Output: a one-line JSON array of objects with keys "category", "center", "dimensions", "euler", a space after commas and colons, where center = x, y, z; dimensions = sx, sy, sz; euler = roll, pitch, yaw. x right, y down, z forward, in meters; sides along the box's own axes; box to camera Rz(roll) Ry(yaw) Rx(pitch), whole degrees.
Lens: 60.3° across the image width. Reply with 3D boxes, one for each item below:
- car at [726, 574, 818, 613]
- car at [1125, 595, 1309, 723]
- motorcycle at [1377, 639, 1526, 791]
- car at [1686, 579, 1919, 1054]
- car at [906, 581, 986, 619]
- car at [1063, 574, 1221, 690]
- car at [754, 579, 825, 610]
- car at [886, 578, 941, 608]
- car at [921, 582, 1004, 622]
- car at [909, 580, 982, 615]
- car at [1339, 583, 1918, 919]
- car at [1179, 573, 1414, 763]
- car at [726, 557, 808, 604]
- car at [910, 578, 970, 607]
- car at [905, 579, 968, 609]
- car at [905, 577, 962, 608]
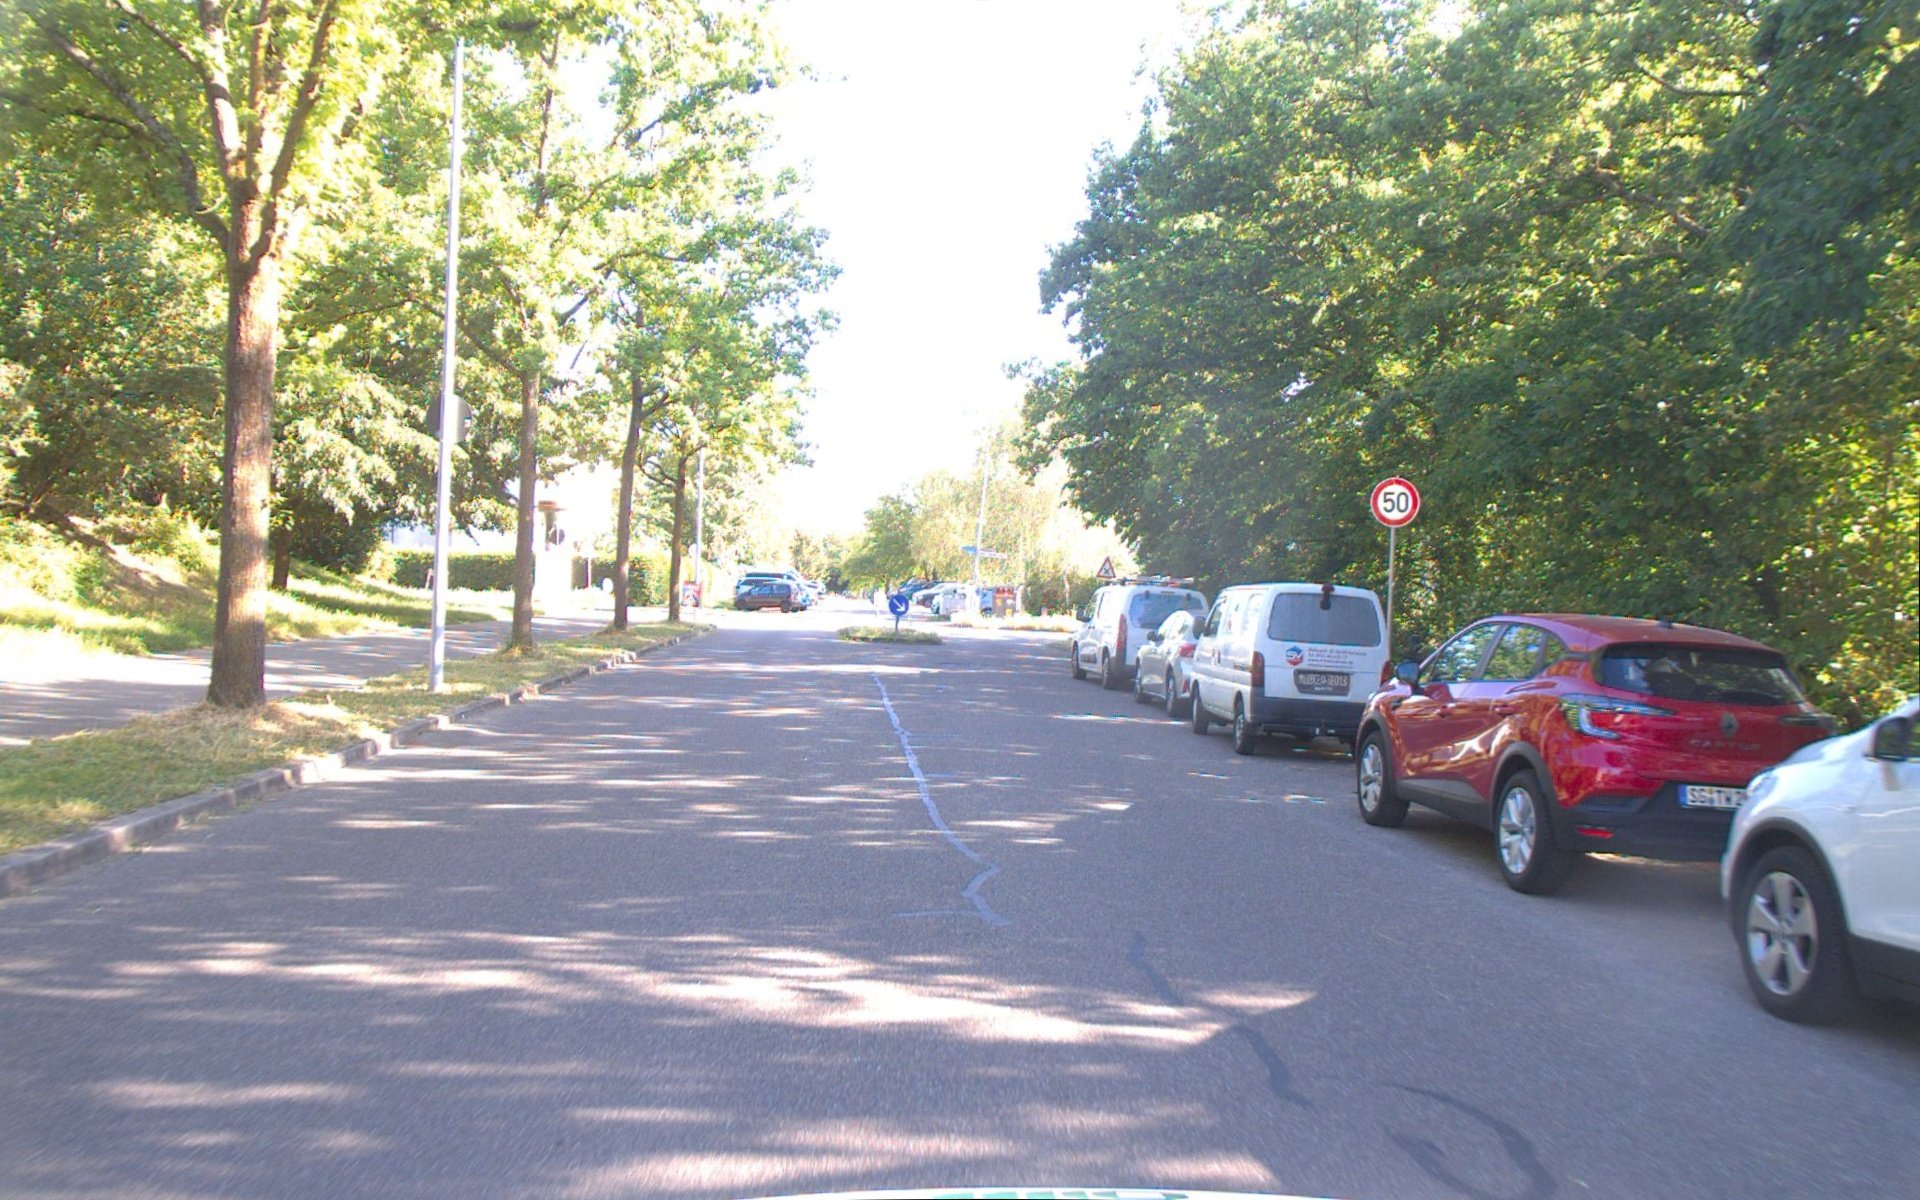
[{"category": "car", "center": [-9.392, -0.318, 82.935], "dimensions": [4.229, 1.604, 2.047], "euler": [4, 0, 3]}, {"category": "car", "center": [3.557, 0.762, 23.624], "dimensions": [1.658, 1.538, 4.204], "euler": [4, 0, -3]}, {"category": "motorcycle", "center": [4.473, 1.010, 15.201], "dimensions": [0.634, 1.216, 2.034], "euler": [3, 0, -2]}, {"category": "car", "center": [4.283, 0.817, 5.352], "dimensions": [1.741, 1.649, 4.061], "euler": [4, 0, -5]}, {"category": "car", "center": [-0.674, -0.015, 81.803], "dimensions": [3.759, 1.604, 1.689], "euler": [4, 0, 3]}, {"category": "car", "center": [3.176, 0.509, 29.754], "dimensions": [1.757, 1.816, 4.550], "euler": [4, 0, -7]}, {"category": "car", "center": [-10.189, -0.337, 99.212], "dimensions": [4.024, 1.604, 1.958], "euler": [4, 0, -2]}, {"category": "car", "center": [-3.343, -0.493, 118.561], "dimensions": [3.760, 1.827, 1.688], "euler": [4, 0, 1]}, {"category": "car", "center": [0.135, 0.102, 79.028], "dimensions": [3.759, 1.604, 1.689], "euler": [4, 0, 3]}, {"category": "car", "center": [-0.759, -0.150, 89.614], "dimensions": [3.759, 1.604, 1.689], "euler": [4, 0, 3]}, {"category": "car", "center": [3.966, 0.775, 10.653], "dimensions": [1.741, 1.649, 4.061], "euler": [4, 0, -5]}, {"category": "car", "center": [3.633, 0.672, 18.466], "dimensions": [1.591, 1.804, 3.666], "euler": [4, 0, -3]}, {"category": "car", "center": [-12.597, -1.270, 108.010], "dimensions": [5.104, 2.666, 2.289], "euler": [4, 0, -9]}, {"category": "car", "center": [-1.258, -0.515, 107.542], "dimensions": [3.760, 1.604, 1.688], "euler": [4, 0, 1]}, {"category": "car", "center": [-1.485, -0.377, 104.393], "dimensions": [3.759, 1.604, 1.689], "euler": [4, 0, 3]}, {"category": "car", "center": [-1.780, -0.500, 113.719], "dimensions": [3.760, 1.827, 1.688], "euler": [4, 0, 1]}]
